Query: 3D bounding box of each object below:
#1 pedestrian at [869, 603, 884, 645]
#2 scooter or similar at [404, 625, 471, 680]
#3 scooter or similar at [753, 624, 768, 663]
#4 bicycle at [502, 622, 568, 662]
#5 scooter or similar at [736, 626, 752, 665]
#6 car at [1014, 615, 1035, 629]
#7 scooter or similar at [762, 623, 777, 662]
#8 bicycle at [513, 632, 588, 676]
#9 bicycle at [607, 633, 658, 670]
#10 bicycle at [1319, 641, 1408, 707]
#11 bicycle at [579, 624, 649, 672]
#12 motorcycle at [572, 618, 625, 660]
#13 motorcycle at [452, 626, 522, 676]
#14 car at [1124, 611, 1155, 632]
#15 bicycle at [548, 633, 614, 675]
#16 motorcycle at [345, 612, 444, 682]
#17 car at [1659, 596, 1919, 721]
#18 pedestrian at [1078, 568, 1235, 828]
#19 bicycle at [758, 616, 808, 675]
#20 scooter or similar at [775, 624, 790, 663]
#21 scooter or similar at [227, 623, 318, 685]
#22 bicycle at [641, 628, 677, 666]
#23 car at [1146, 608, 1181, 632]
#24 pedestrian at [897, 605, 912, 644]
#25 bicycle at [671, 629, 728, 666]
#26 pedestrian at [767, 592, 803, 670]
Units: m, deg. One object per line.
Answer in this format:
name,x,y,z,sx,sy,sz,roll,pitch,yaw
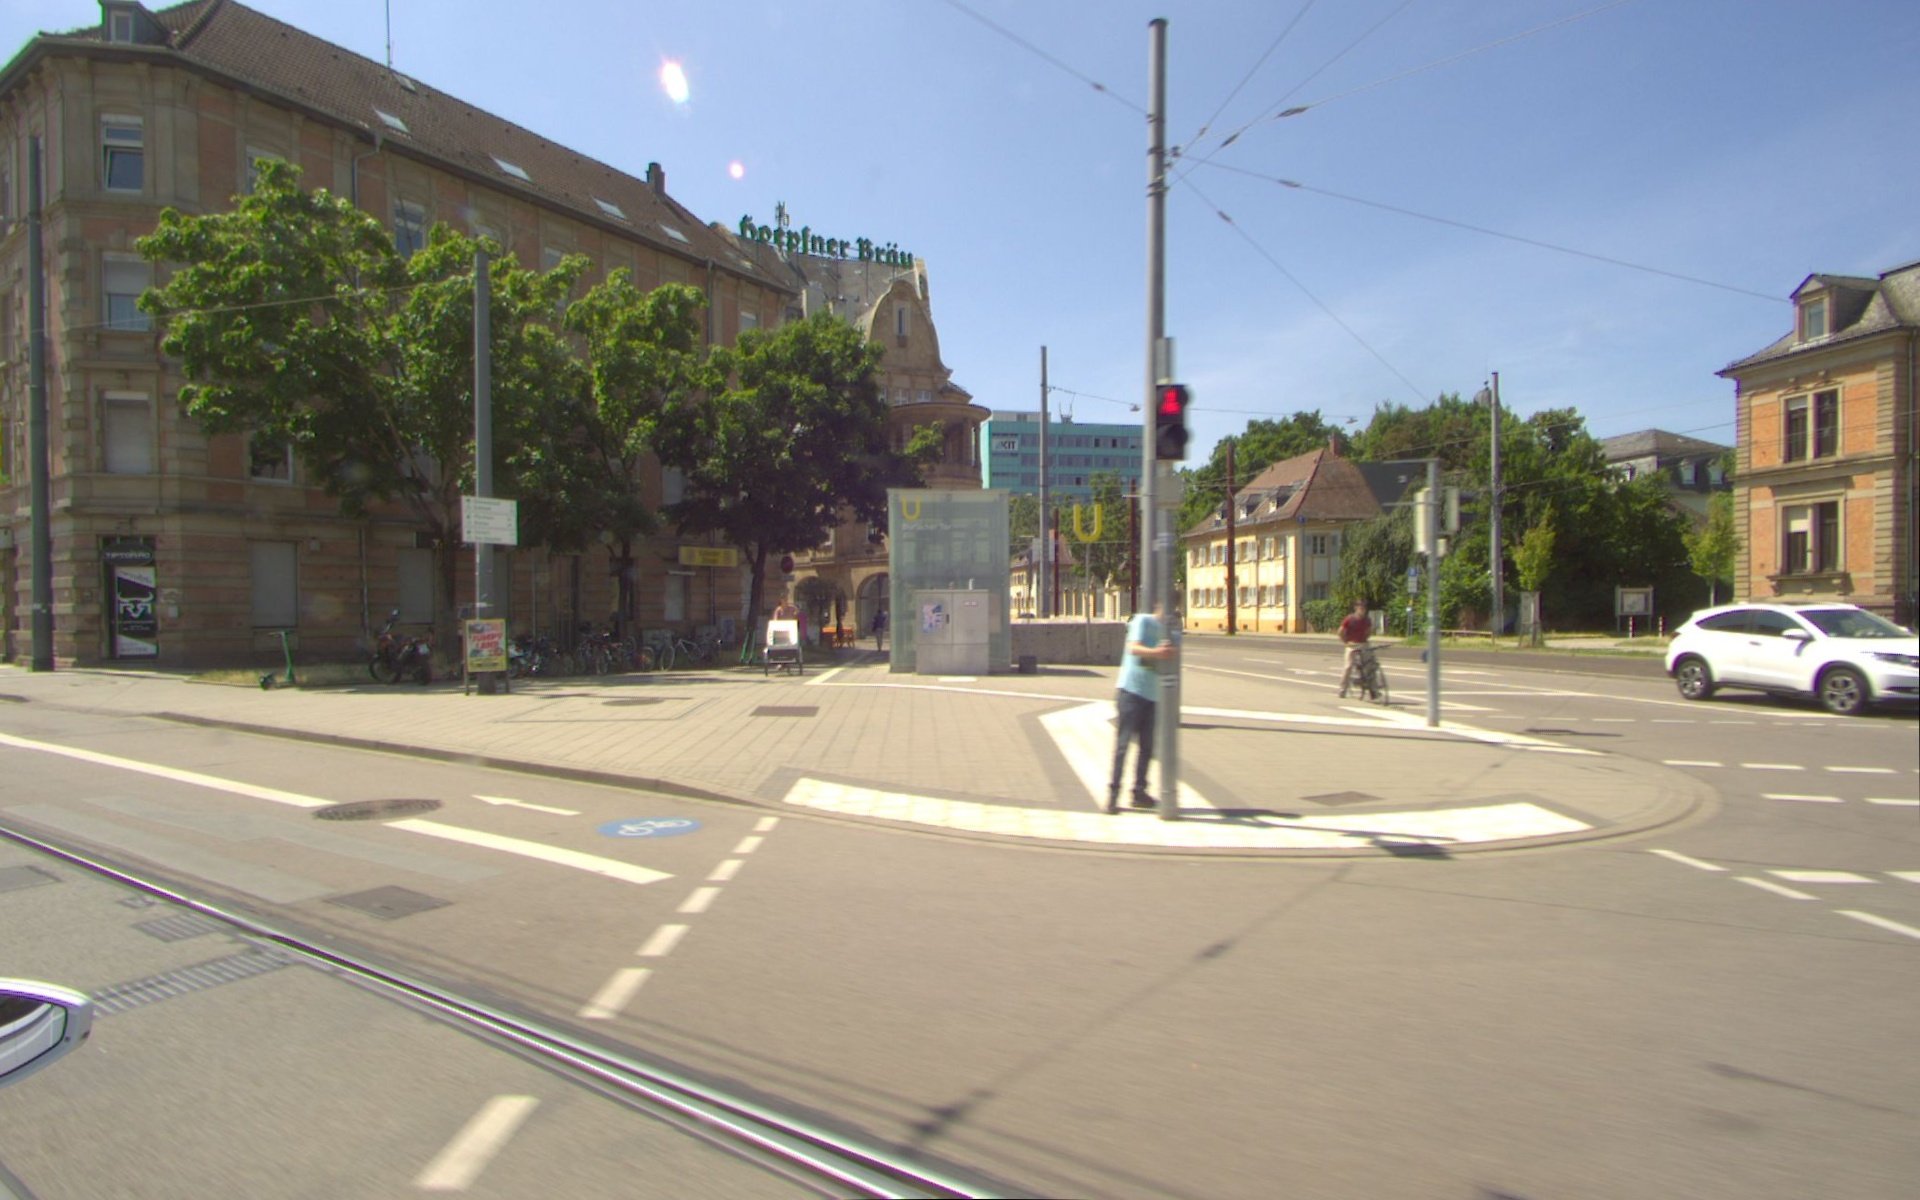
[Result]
pedestrian,-3.510,1.003,41.834,0.602,1.721,0.585,0,0,-7
scooter or similar,-11.522,1.150,22.074,1.357,1.167,0.600,-2,0,24
scooter or similar,-5.982,1.290,30.082,0.263,1.140,0.987,0,0,0
bicycle,-13.140,1.278,31.011,0.703,1.193,1.874,0,0,27
scooter or similar,-6.475,1.344,30.022,0.263,1.140,0.987,0,0,0
car,7.758,2.655,120.603,1.661,1.661,3.579,0,-1,-10
scooter or similar,-5.699,1.269,29.968,0.263,1.140,0.987,0,0,0
bicycle,-9.796,1.265,23.933,2.054,0.978,0.643,0,0,35
bicycle,-8.557,1.332,26.166,1.407,0.917,0.455,0,0,30
bicycle,6.968,1.260,17.407,0.712,1.019,2.020,0,0,-1
bicycle,-8.689,1.191,25.112,1.811,1.161,0.644,0,0,30
motorcycle,-11.691,1.242,32.417,0.495,1.307,1.636,0,0,33
motorcycle,-10.817,1.152,22.883,1.724,1.111,0.689,-1,-1,35
car,14.807,1.767,82.634,1.610,1.689,3.480,0,-1,-7
bicycle,-9.297,1.302,24.517,1.815,0.978,0.643,0,0,37
motorcycle,-11.773,0.965,20.804,2.561,1.380,0.761,-1,-1,35
car,13.023,0.785,15.222,1.675,1.626,4.176,0,-1,-4
pedestrian,1.448,0.685,7.485,0.797,1.803,0.871,0,0,-24
bicycle,-4.053,1.001,22.956,1.079,1.267,2.219,0,0,-10
scooter or similar,-5.304,1.289,29.926,0.263,1.140,0.987,0,0,0
scooter or similar,-13.784,1.059,20.123,0.701,1.170,1.525,0,0,5
bicycle,-8.220,1.268,27.353,0.451,1.005,1.417,0,0,-38
car,15.674,1.514,77.242,1.610,1.806,3.480,0,-1,-7
pedestrian,-2.300,1.018,41.747,0.602,1.617,0.601,0,0,-6
bicycle,-7.356,1.332,28.279,1.542,1.005,0.503,0,0,20
pedestrian,-4.119,0.718,23.590,0.799,1.798,0.824,-1,0,-10
